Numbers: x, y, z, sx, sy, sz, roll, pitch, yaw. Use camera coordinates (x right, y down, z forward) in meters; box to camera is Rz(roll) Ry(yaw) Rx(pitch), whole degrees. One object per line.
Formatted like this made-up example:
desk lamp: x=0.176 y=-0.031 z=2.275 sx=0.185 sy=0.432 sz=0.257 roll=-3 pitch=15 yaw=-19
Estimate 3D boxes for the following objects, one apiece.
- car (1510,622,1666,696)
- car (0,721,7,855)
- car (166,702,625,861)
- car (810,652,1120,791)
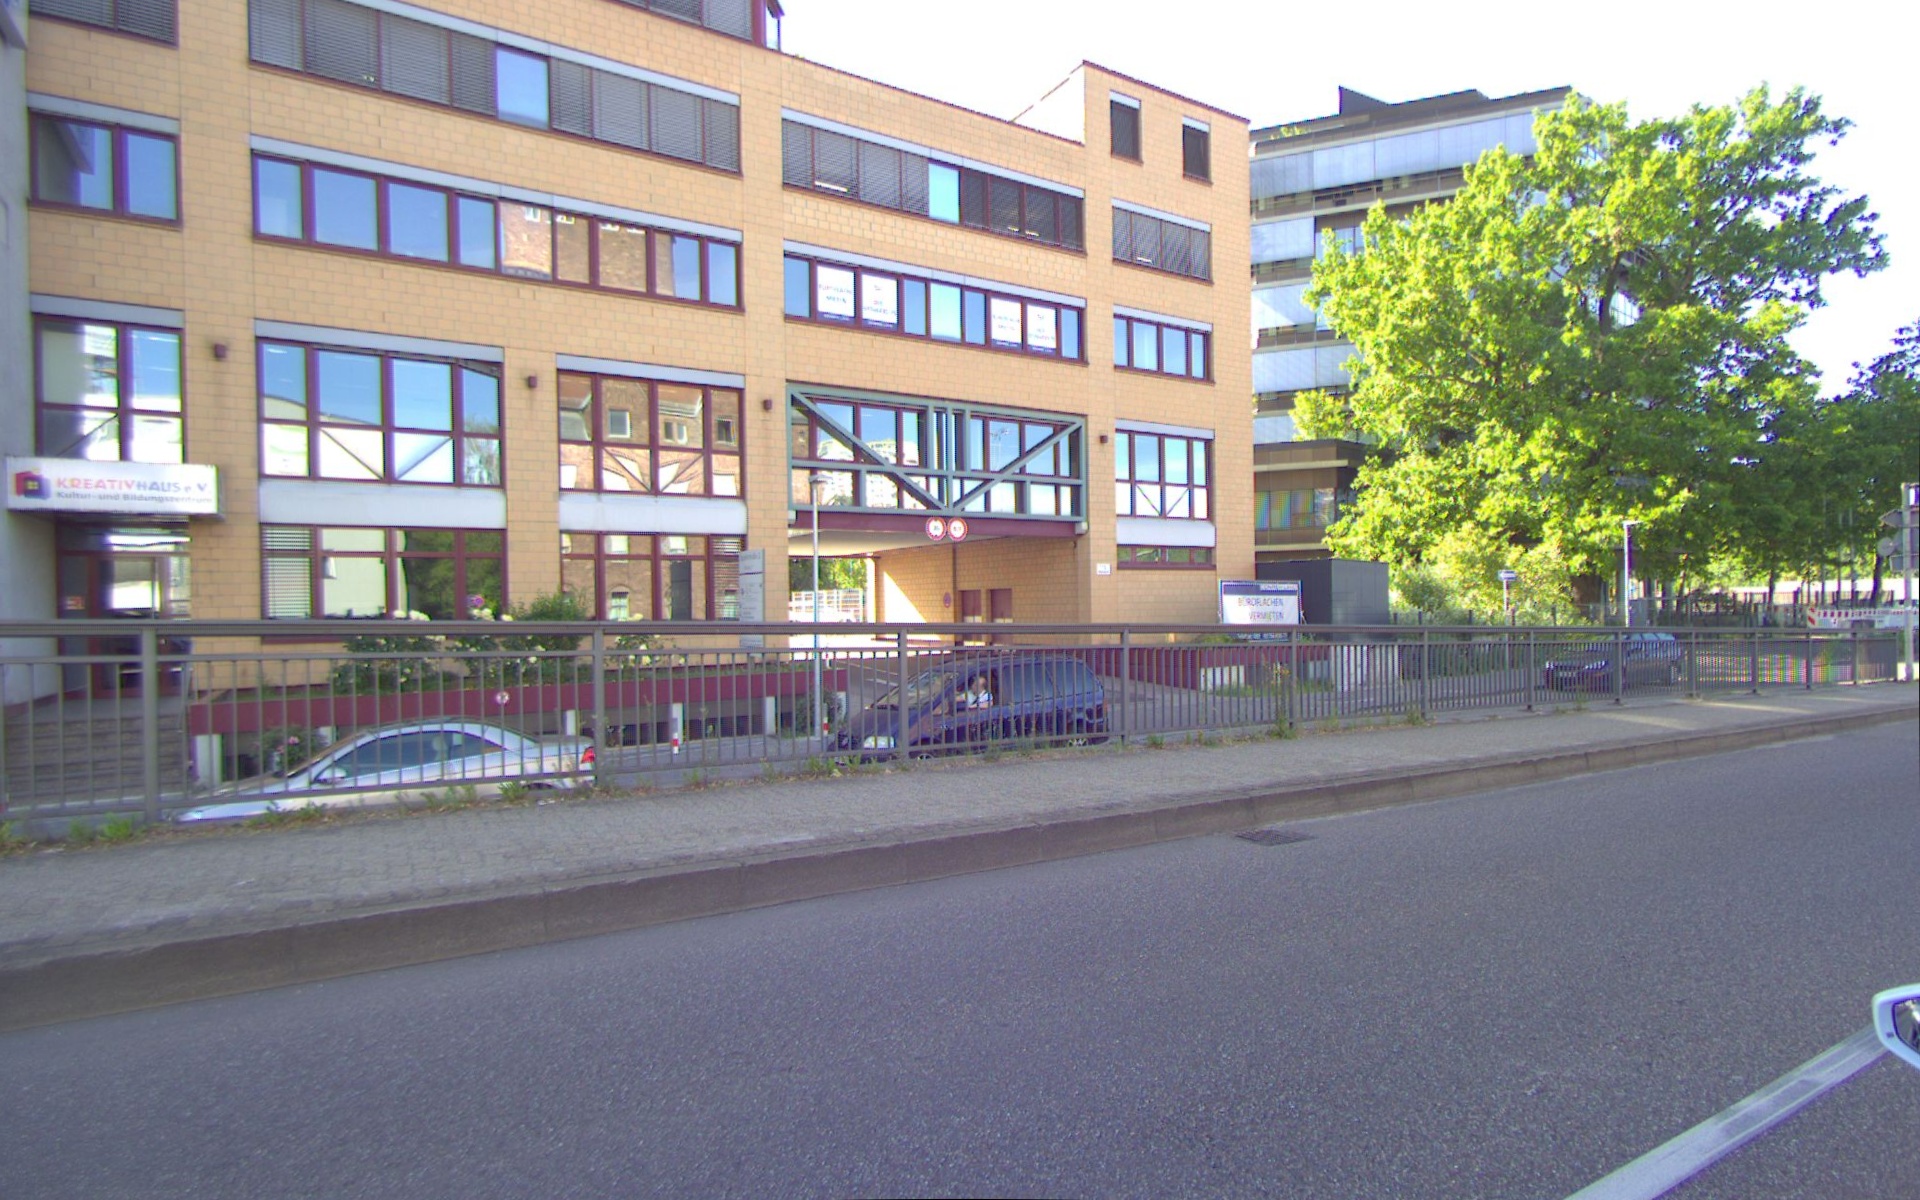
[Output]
car: x=16.438 y=1.467 z=26.278 sx=3.953 sy=1.715 sz=1.843 roll=-1 pitch=0 yaw=-30
car: x=-10.644 y=1.812 z=8.289 sx=3.766 sy=1.286 sz=1.567 roll=0 pitch=-2 yaw=-32
car: x=-6.132 y=1.900 z=11.314 sx=4.210 sy=1.181 sz=1.713 roll=0 pitch=-2 yaw=-32
car: x=0.169 y=1.696 z=15.176 sx=4.541 sy=1.669 sz=1.710 roll=0 pitch=-2 yaw=-35
